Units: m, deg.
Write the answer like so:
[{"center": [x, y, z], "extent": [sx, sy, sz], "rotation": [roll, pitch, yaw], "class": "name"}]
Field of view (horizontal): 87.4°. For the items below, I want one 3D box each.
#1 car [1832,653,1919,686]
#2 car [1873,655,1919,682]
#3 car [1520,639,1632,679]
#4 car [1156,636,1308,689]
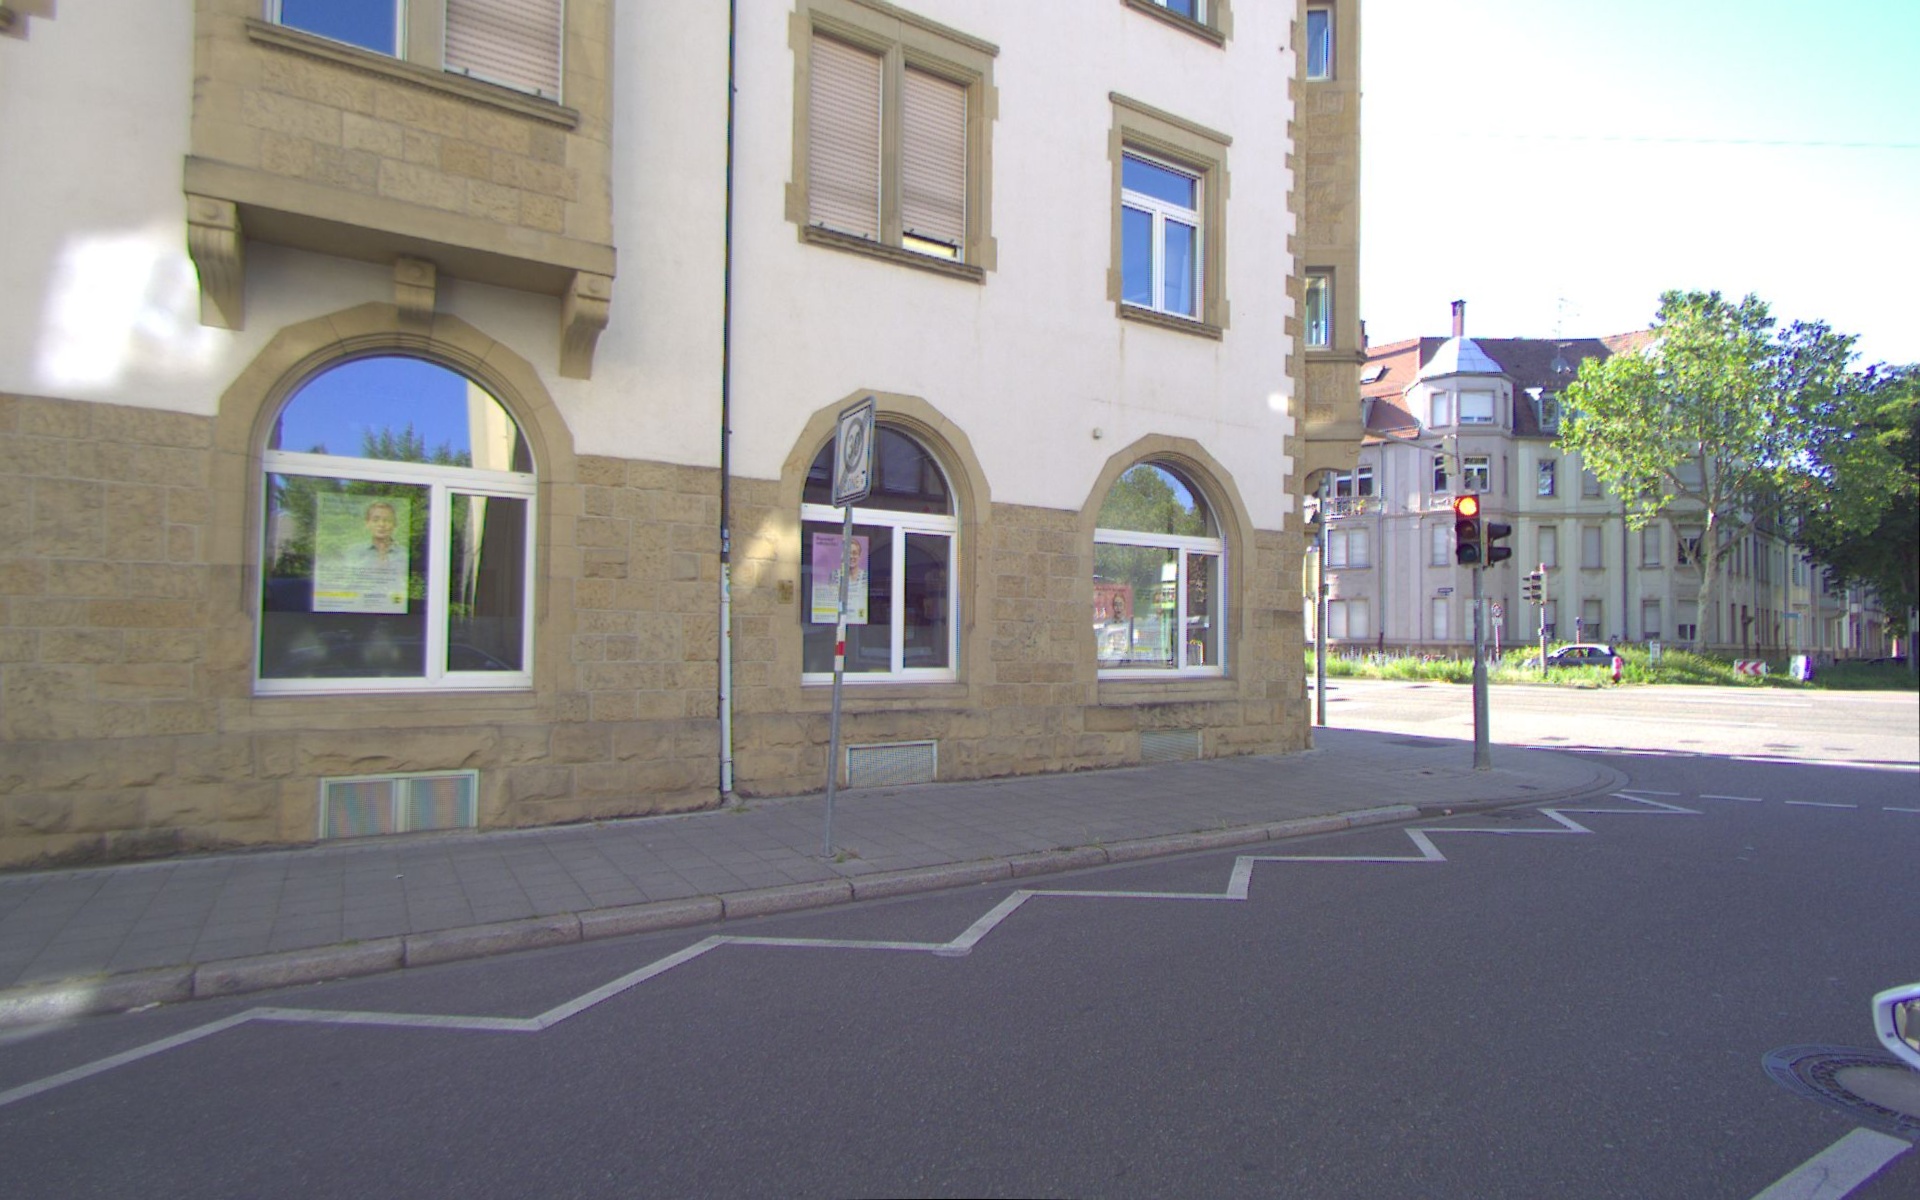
[{"center": [45.444, 3.410, 49.501], "extent": [1.647, 1.476, 3.595], "rotation": [2, -2, -44], "class": "car"}, {"center": [54.026, 3.878, 56.716], "extent": [1.647, 1.476, 3.595], "rotation": [2, -2, -44], "class": "car"}, {"center": [24.240, 2.285, 39.593], "extent": [3.588, 1.476, 1.650], "rotation": [-1, -2, 40], "class": "car"}, {"center": [8.179, 1.836, 30.444], "extent": [4.155, 1.476, 1.669], "rotation": [-2, -2, 42], "class": "car"}]
